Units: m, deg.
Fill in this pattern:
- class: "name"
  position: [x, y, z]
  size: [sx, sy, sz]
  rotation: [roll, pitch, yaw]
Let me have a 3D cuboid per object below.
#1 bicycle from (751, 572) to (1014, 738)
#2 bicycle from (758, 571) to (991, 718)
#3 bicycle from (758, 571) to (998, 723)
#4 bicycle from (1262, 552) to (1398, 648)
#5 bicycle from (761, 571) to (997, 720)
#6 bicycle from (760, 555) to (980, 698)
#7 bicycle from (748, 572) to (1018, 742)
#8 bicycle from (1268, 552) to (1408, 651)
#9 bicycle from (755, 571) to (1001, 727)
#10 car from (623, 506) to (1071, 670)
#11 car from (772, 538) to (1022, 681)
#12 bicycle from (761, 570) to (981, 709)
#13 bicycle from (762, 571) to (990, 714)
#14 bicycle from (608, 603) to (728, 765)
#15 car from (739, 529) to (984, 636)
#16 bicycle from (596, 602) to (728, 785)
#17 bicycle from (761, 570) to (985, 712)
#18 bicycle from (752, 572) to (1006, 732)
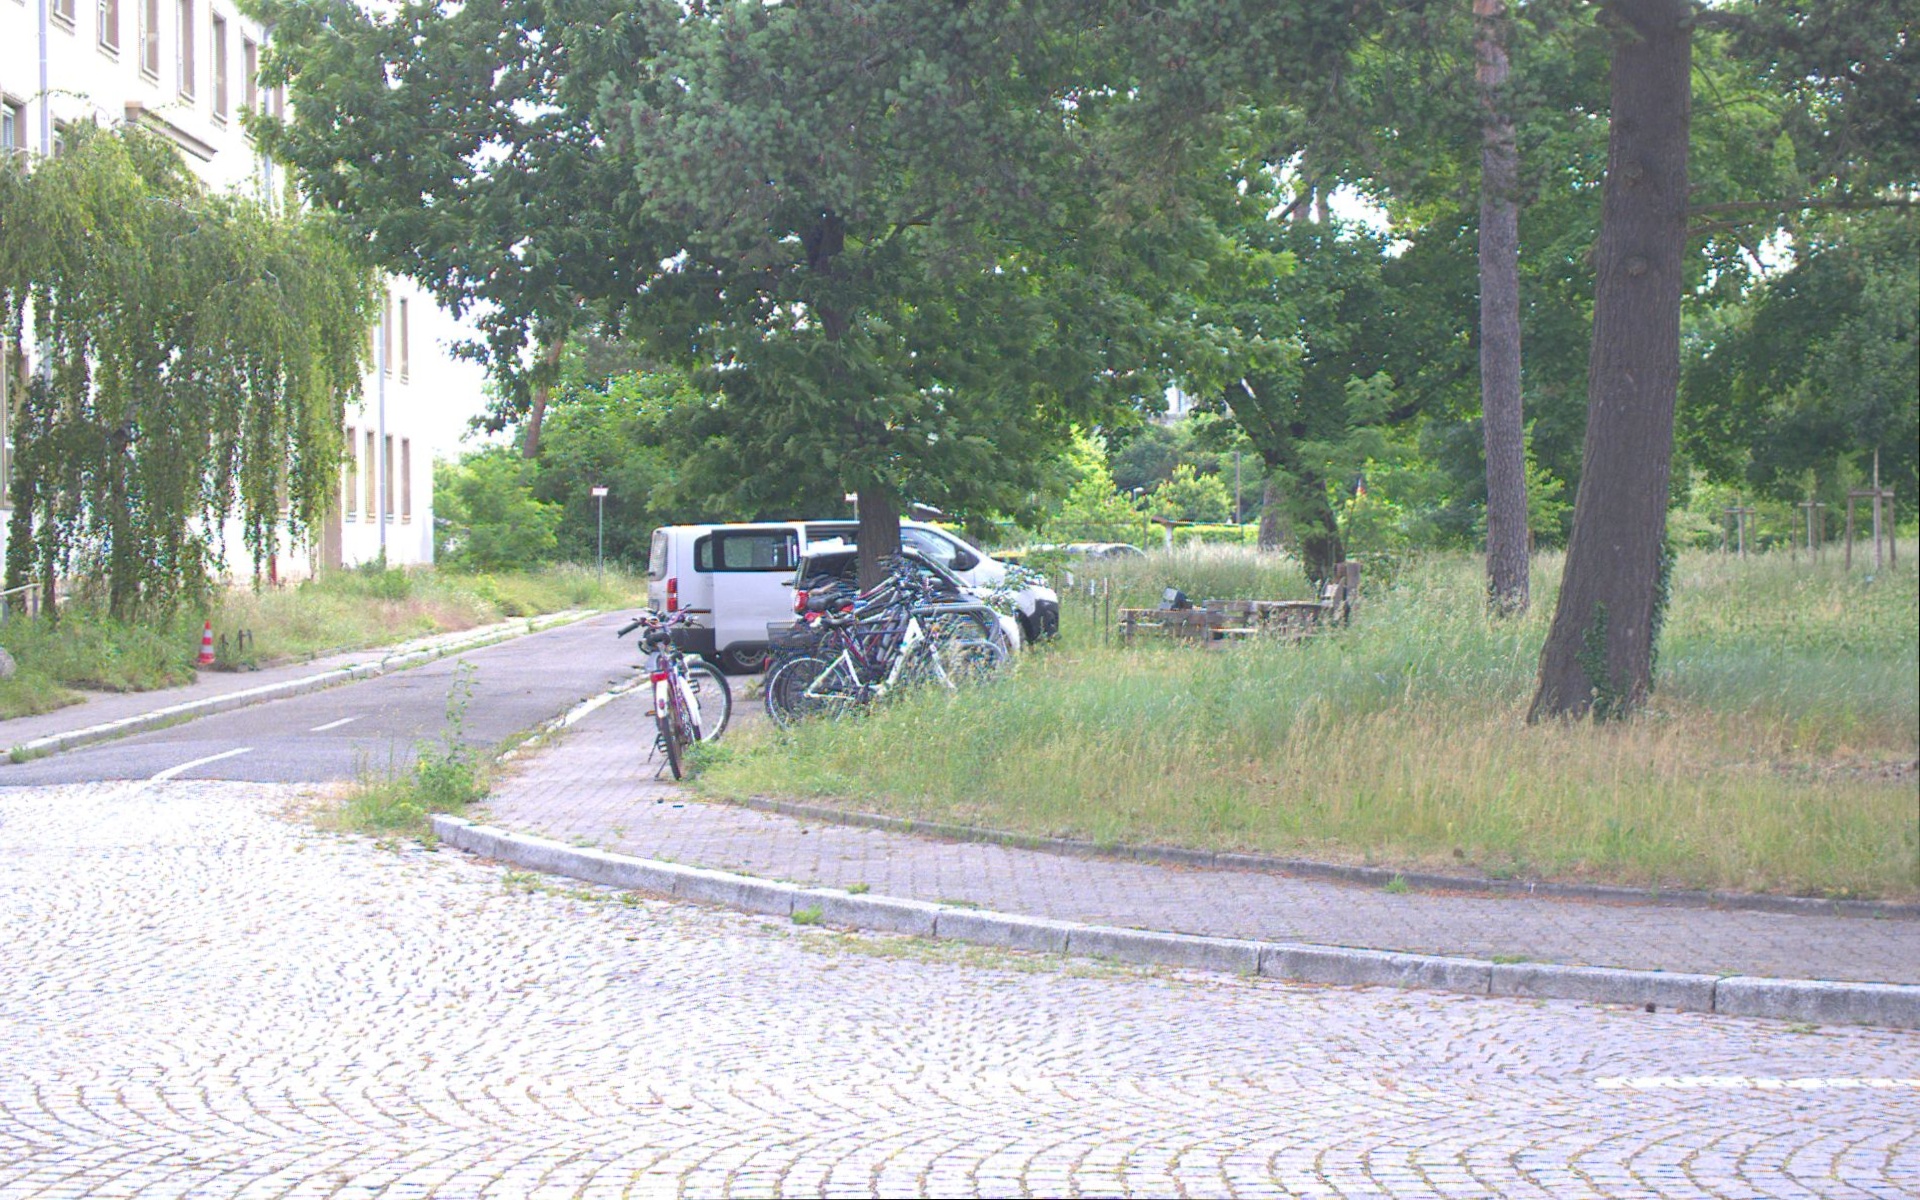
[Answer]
- class: "bicycle"
  position: [-0.602, 0.416, 26.348]
  size: [1.982, 1.243, 0.624]
  rotation: [0, 0, -3]
- class: "bicycle"
  position: [-0.745, 0.378, 29.688]
  size: [1.982, 1.243, 0.624]
  rotation: [0, 0, -3]
- class: "bicycle"
  position: [-0.692, 0.388, 28.766]
  size: [1.982, 1.243, 0.624]
  rotation: [0, 0, -3]
- class: "bicycle"
  position: [4.362, -0.002, 40.577]
  size: [1.549, 1.121, 0.401]
  rotation: [0, 1, 1]
- class: "bicycle"
  position: [-0.694, 0.382, 29.292]
  size: [1.982, 1.243, 0.624]
  rotation: [0, 0, -3]
- class: "bicycle"
  position: [-0.842, 0.237, 32.034]
  size: [1.982, 1.243, 0.624]
  rotation: [-2, 1, -3]
- class: "bicycle"
  position: [-0.581, 0.423, 25.719]
  size: [1.982, 1.243, 0.624]
  rotation: [0, 0, -3]
- class: "bicycle"
  position: [4.325, 0.014, 39.344]
  size: [1.549, 1.121, 0.401]
  rotation: [0, 1, 1]
- class: "bicycle"
  position: [-0.677, 0.395, 28.133]
  size: [1.982, 1.243, 0.624]
  rotation: [0, 0, -3]
- class: "car"
  position: [-1.459, -0.183, 43.806]
  size: [5.303, 1.909, 2.150]
  rotation: [-1, 1, -15]
- class: "car"
  position: [-0.739, 0.098, 40.342]
  size: [2.847, 1.552, 1.472]
  rotation: [-1, 2, -1]
- class: "bicycle"
  position: [-0.820, 0.358, 31.375]
  size: [1.982, 1.243, 0.624]
  rotation: [0, 0, -3]
- class: "bicycle"
  position: [-0.747, 0.370, 30.369]
  size: [1.982, 1.243, 0.624]
  rotation: [0, 0, -3]
- class: "bicycle"
  position: [-2.048, 0.572, 24.280]
  size: [0.622, 1.079, 1.677]
  rotation: [0, 1, 3]
- class: "car"
  position: [-1.659, -0.305, 57.694]
  size: [4.031, 1.712, 1.681]
  rotation: [-1, 1, -2]
- class: "bicycle"
  position: [-1.916, 0.579, 22.327]
  size: [0.622, 1.110, 1.989]
  rotation: [0, 1, 2]
- class: "bicycle"
  position: [-0.787, 0.364, 30.882]
  size: [1.982, 1.243, 0.624]
  rotation: [0, 0, -3]
- class: "bicycle"
  position: [-0.647, 0.405, 27.274]
  size: [1.982, 1.243, 0.624]
  rotation: [0, 0, -3]
